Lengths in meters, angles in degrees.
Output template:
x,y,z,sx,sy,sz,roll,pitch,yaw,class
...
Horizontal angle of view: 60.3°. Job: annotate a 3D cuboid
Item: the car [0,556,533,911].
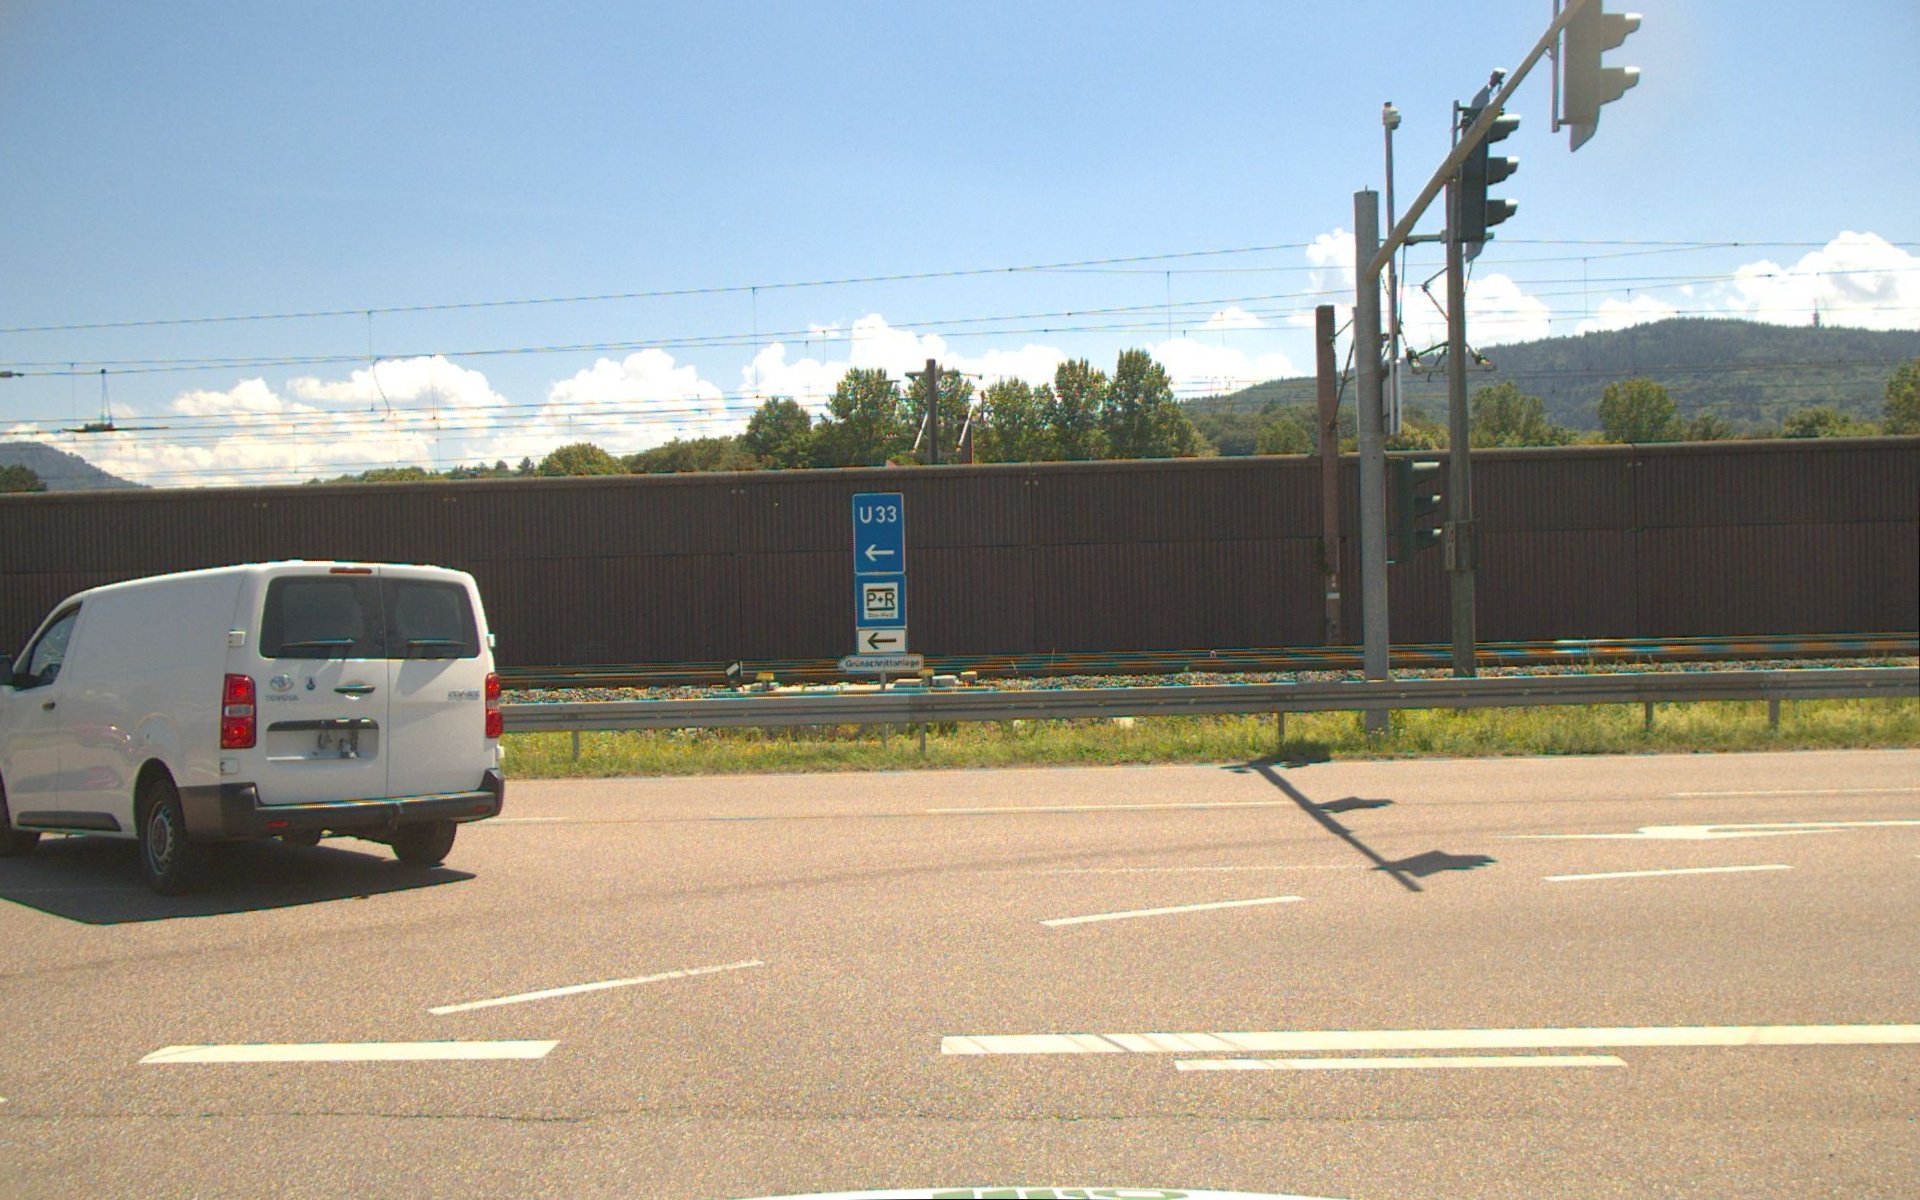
x,y,z,sx,sy,sz,roll,pitch,yaw,class
-5.028,0.813,11.329,1.938,1.915,4.800,0,-2,-44,car
